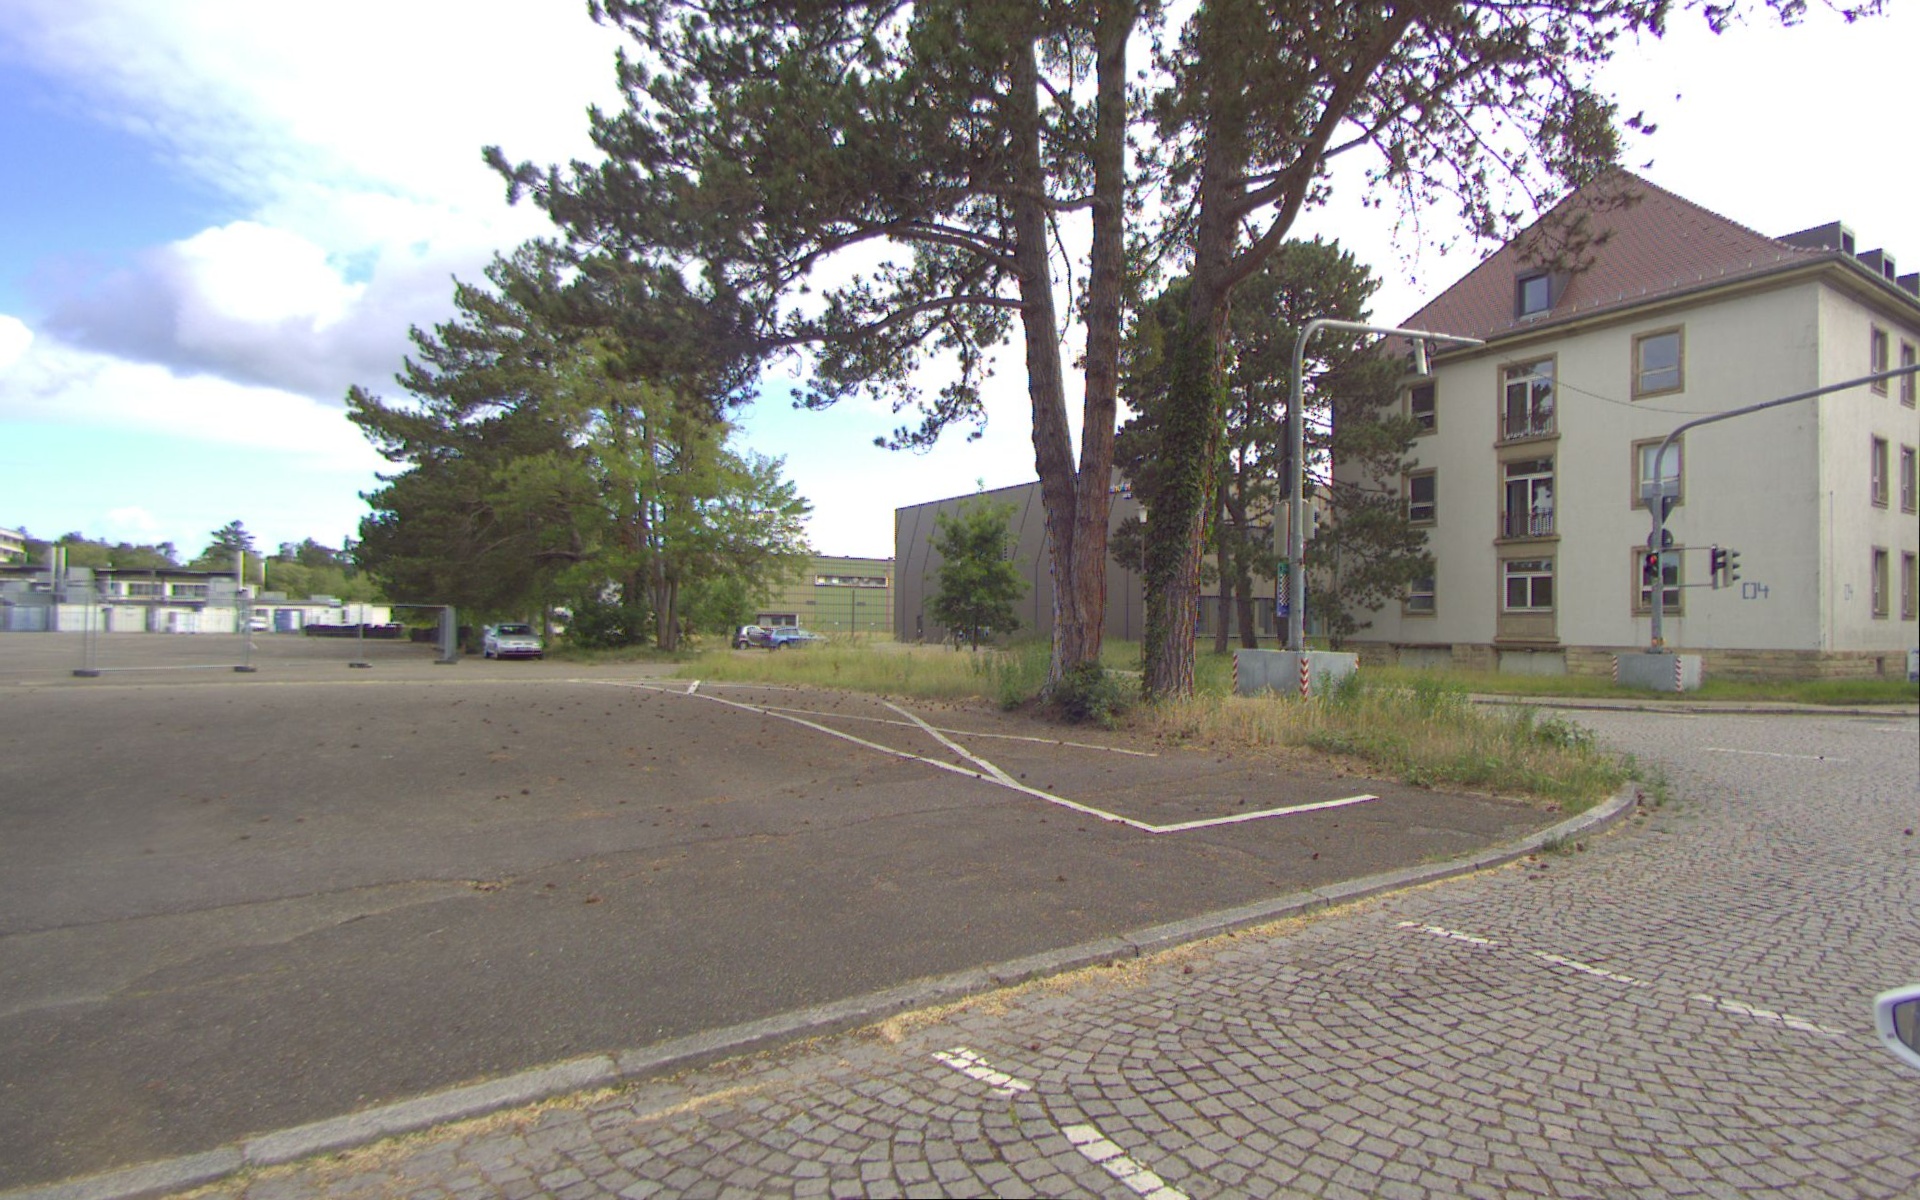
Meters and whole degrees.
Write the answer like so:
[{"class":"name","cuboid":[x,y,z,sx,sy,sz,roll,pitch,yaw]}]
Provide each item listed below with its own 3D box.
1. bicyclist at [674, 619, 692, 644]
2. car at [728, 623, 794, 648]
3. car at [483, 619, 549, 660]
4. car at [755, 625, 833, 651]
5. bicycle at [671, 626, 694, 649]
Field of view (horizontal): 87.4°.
[{"class":"bicyclist","cuboid":[-18.014,2.041,65.247,0.891,1.562,0.859,2,-1,-34]},{"class":"car","cuboid":[-13.677,2.414,69.170,4.080,1.593,1.747,0,-1,-36]},{"class":"car","cuboid":[-17.763,1.549,40.080,1.717,1.451,4.122,2,-1,-34]},{"class":"car","cuboid":[-10.319,2.346,62.536,4.451,1.482,1.915,0,-1,-36]},{"class":"bicycle","cuboid":[-18.052,2.422,65.271,0.818,1.395,2.023,2,-1,-34]}]
